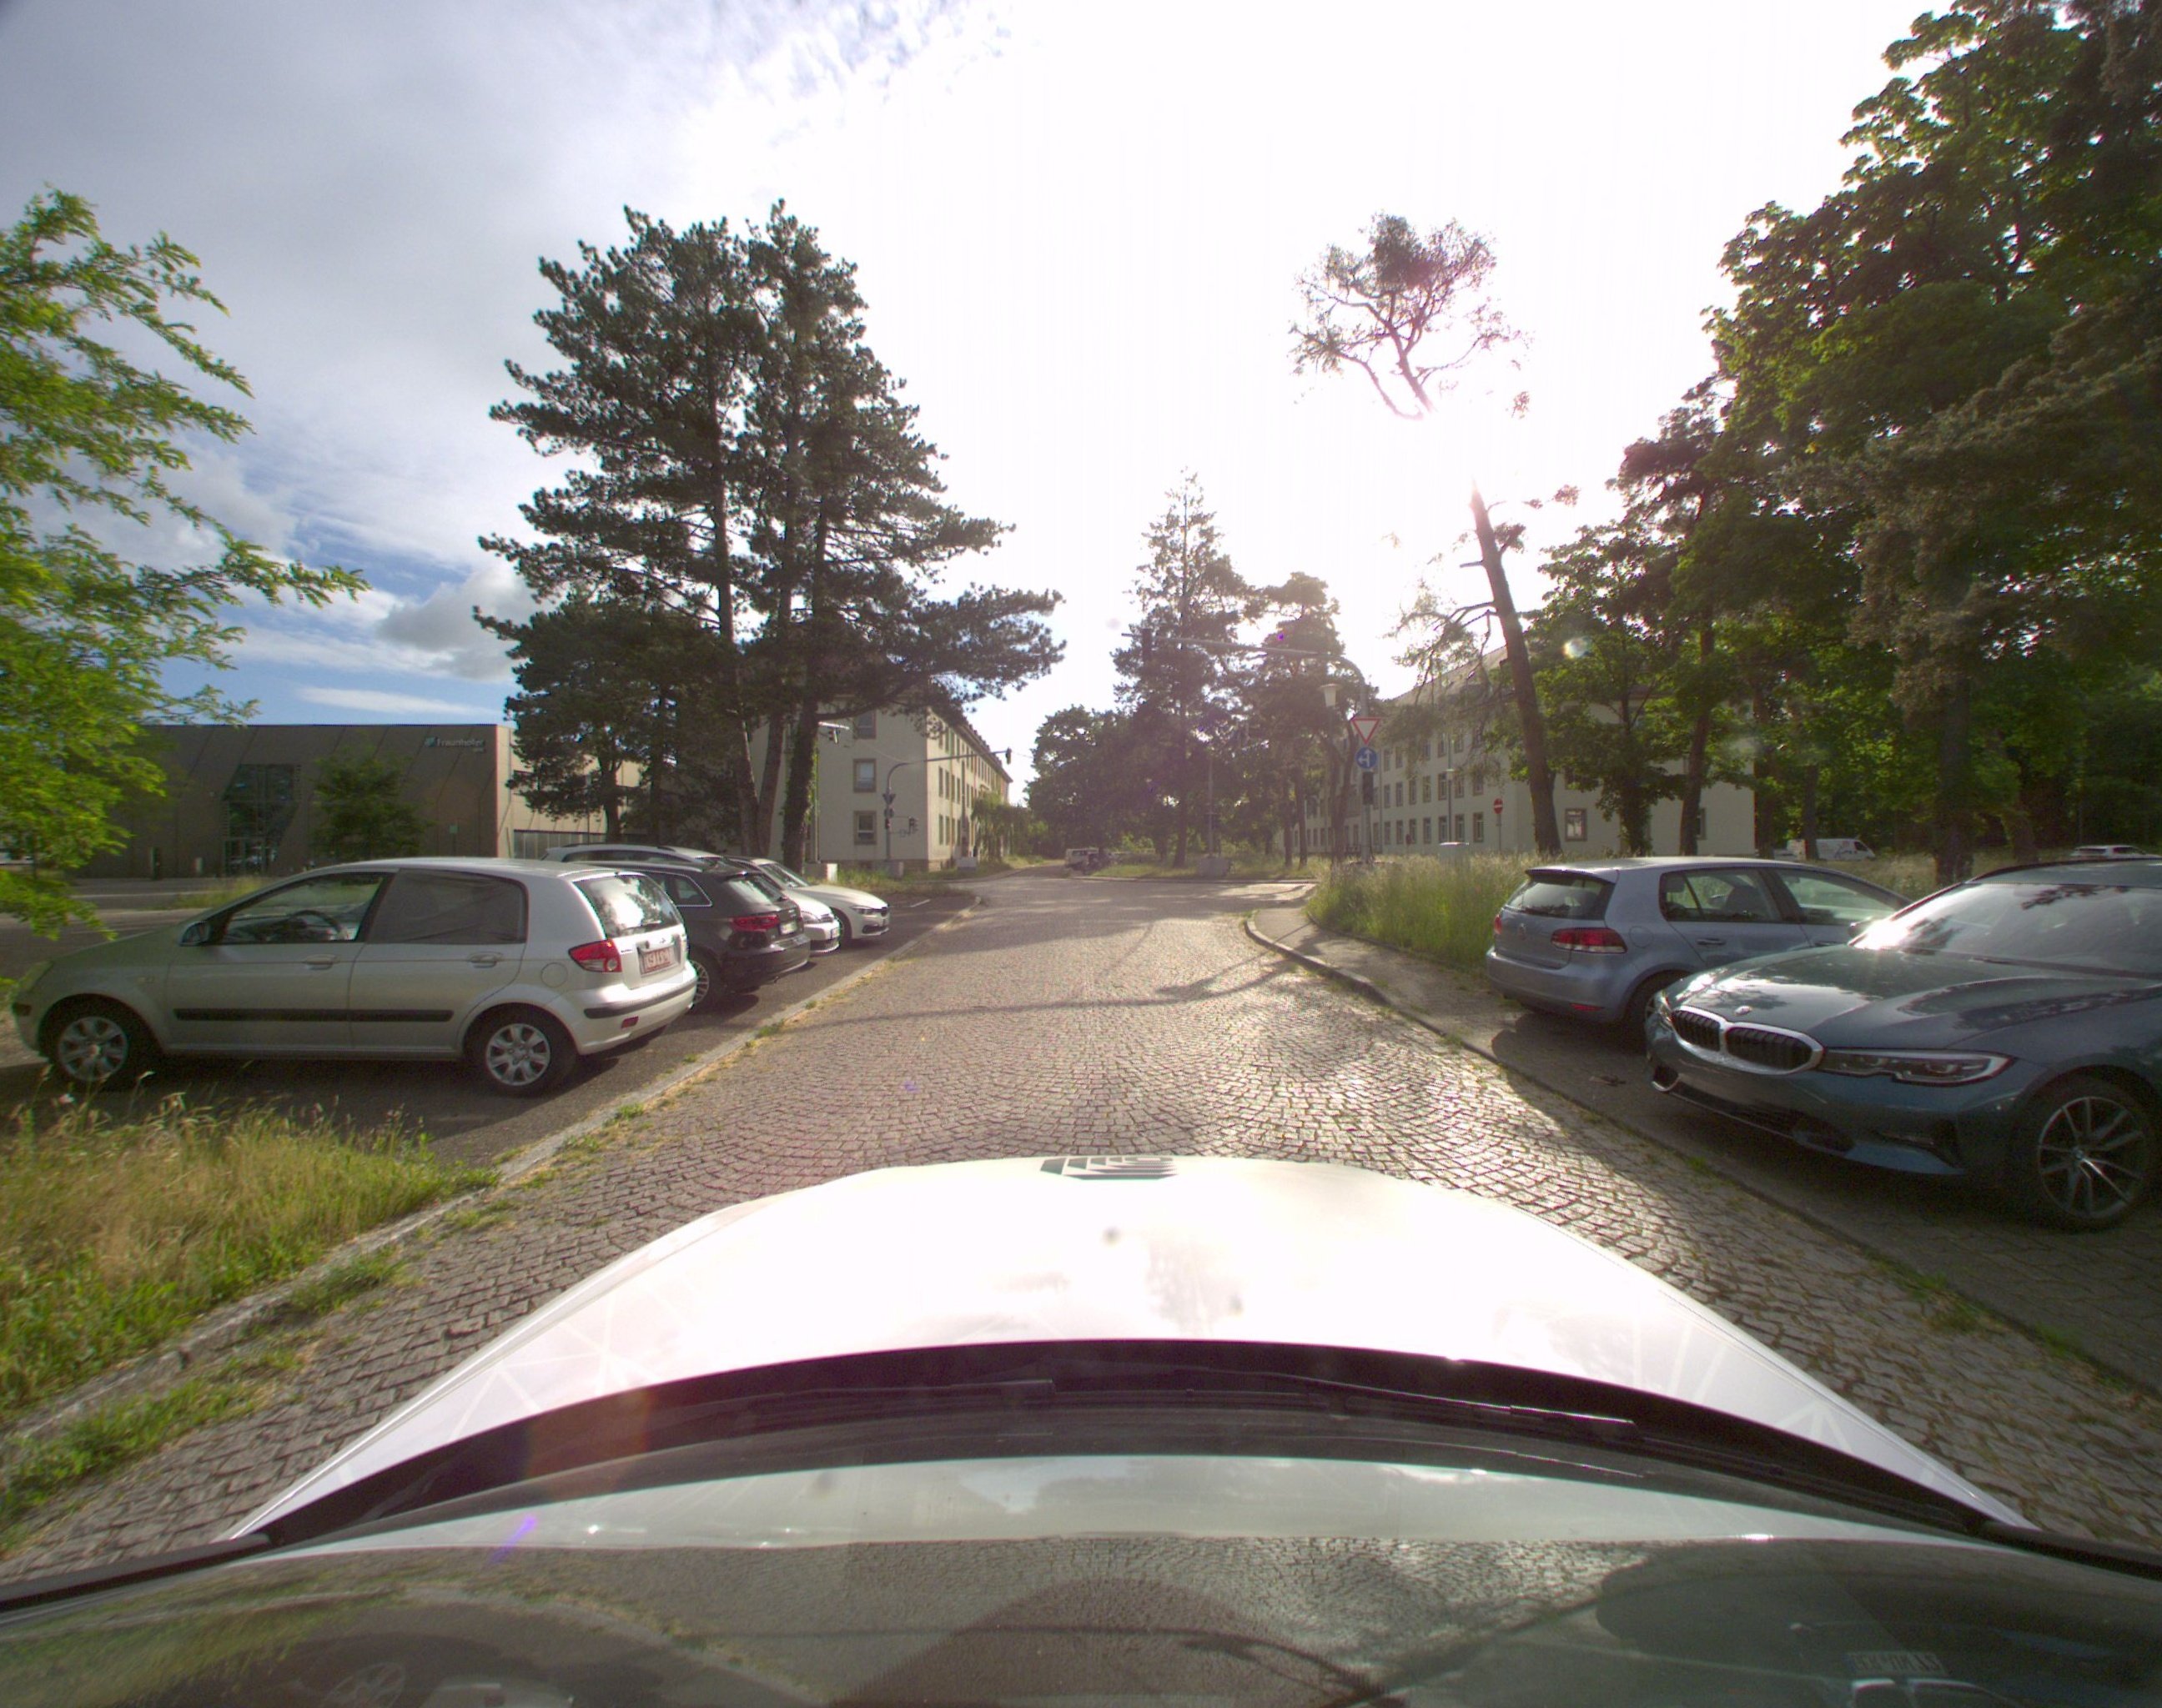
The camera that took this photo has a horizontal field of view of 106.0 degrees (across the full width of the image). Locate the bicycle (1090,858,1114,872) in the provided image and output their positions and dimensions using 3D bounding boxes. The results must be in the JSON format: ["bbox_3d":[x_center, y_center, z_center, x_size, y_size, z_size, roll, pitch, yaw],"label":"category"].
[{"bbox_3d":[1.577,0.833,61.332,1.788,0.999,0.644,-1,1,-2],"label":"bicycle"}]

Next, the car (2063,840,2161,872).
[{"bbox_3d":[57.523,0.115,45.240,3.923,1.679,1.854,0,-1,-3],"label":"car"}]

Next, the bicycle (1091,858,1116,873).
[{"bbox_3d":[1.630,0.818,59.095,1.788,0.999,0.644,-1,1,-2],"label":"bicycle"}]

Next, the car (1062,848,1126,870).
[{"bbox_3d":[1.159,0.424,73.999,5.510,1.916,2.243,0,-1,-15],"label":"car"}]

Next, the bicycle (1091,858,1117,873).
[{"bbox_3d":[1.643,0.809,58.075,1.788,0.999,0.644,-1,1,-2],"label":"bicycle"}]

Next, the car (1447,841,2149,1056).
[{"bbox_3d":[5.879,0.701,7.097,4.533,1.505,1.931,-1,-1,-3],"label":"car"}]

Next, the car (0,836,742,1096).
[{"bbox_3d":[-4.744,0.712,5.964,3.674,1.473,1.848,3,-1,-3],"label":"car"}]

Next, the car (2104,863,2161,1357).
[{"bbox_3d":[5.475,0.720,1.684,4.494,1.473,1.848,-1,-1,-2],"label":"car"}]

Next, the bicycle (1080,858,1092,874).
[{"bbox_3d":[0.315,0.821,54.454,0.726,0.999,1.798,-1,1,-1],"label":"bicycle"}]

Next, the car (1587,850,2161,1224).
[{"bbox_3d":[5.556,0.732,4.464,4.499,1.473,1.892,-1,-1,-5],"label":"car"}]

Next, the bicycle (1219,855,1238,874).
[{"bbox_3d":[7.947,0.547,44.050,0.561,0.999,1.749,-1,1,-5],"label":"bicycle"}]

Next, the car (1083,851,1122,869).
[{"bbox_3d":[1.866,0.522,70.449,3.036,1.465,1.712,0,-1,-14],"label":"car"}]

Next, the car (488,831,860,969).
[{"bbox_3d":[-5.385,0.609,11.298,4.115,1.600,1.855,3,-1,-6],"label":"car"}]

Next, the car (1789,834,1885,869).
[{"bbox_3d":[56.867,-0.176,61.332,5.141,2.536,2.264,0,-1,0],"label":"car"}]

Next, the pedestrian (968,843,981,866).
[{"bbox_3d":[-9.154,0.065,70.179,0.982,1.963,0.932,0,-1,-2],"label":"pedestrian"}]

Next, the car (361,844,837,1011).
[{"bbox_3d":[-4.808,0.708,8.617,3.818,1.429,1.857,2,-1,-2],"label":"car"}]

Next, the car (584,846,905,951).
[{"bbox_3d":[-5.503,0.697,13.837,4.577,1.455,1.901,3,1,-4],"label":"car"}]
